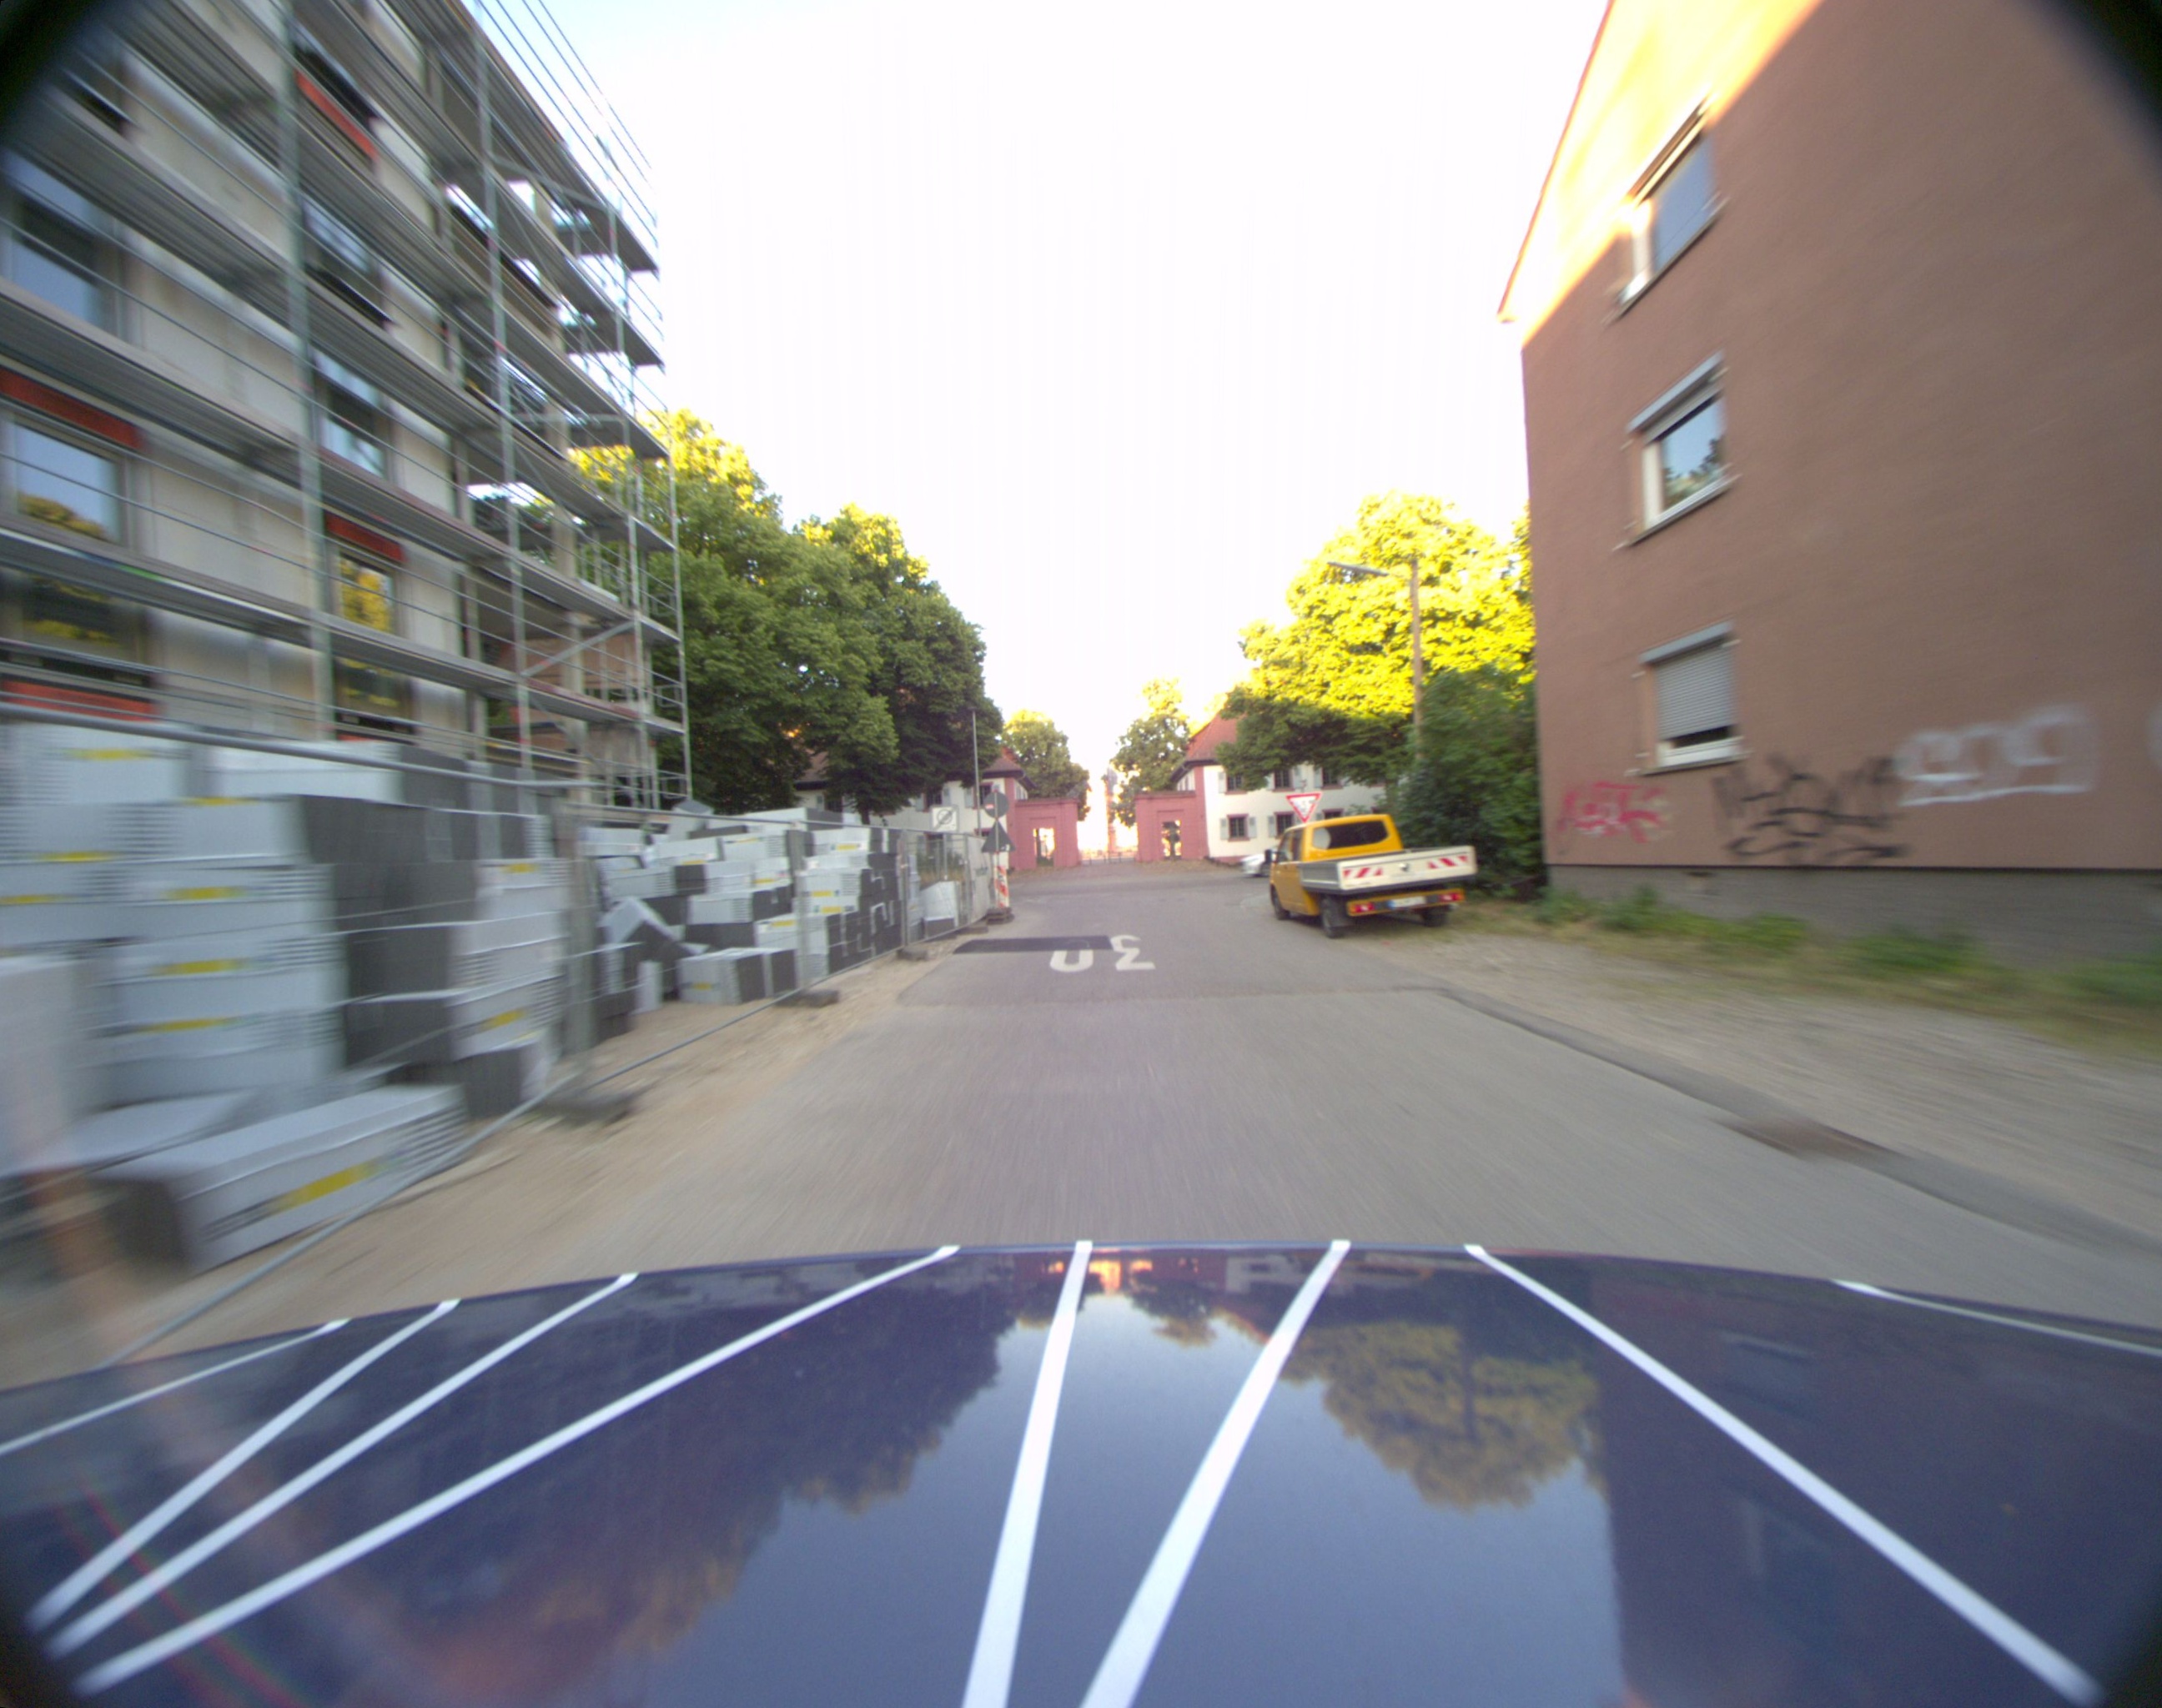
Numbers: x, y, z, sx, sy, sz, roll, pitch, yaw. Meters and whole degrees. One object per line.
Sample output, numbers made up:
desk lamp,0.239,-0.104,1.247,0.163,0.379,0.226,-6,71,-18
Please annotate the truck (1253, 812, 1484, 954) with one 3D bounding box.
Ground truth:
truck,4.792,0.380,13.788,2.039,1.902,5.660,-4,1,1

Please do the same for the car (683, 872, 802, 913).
car,-14.828,1.665,33.417,4.407,1.404,1.620,-4,0,-1
